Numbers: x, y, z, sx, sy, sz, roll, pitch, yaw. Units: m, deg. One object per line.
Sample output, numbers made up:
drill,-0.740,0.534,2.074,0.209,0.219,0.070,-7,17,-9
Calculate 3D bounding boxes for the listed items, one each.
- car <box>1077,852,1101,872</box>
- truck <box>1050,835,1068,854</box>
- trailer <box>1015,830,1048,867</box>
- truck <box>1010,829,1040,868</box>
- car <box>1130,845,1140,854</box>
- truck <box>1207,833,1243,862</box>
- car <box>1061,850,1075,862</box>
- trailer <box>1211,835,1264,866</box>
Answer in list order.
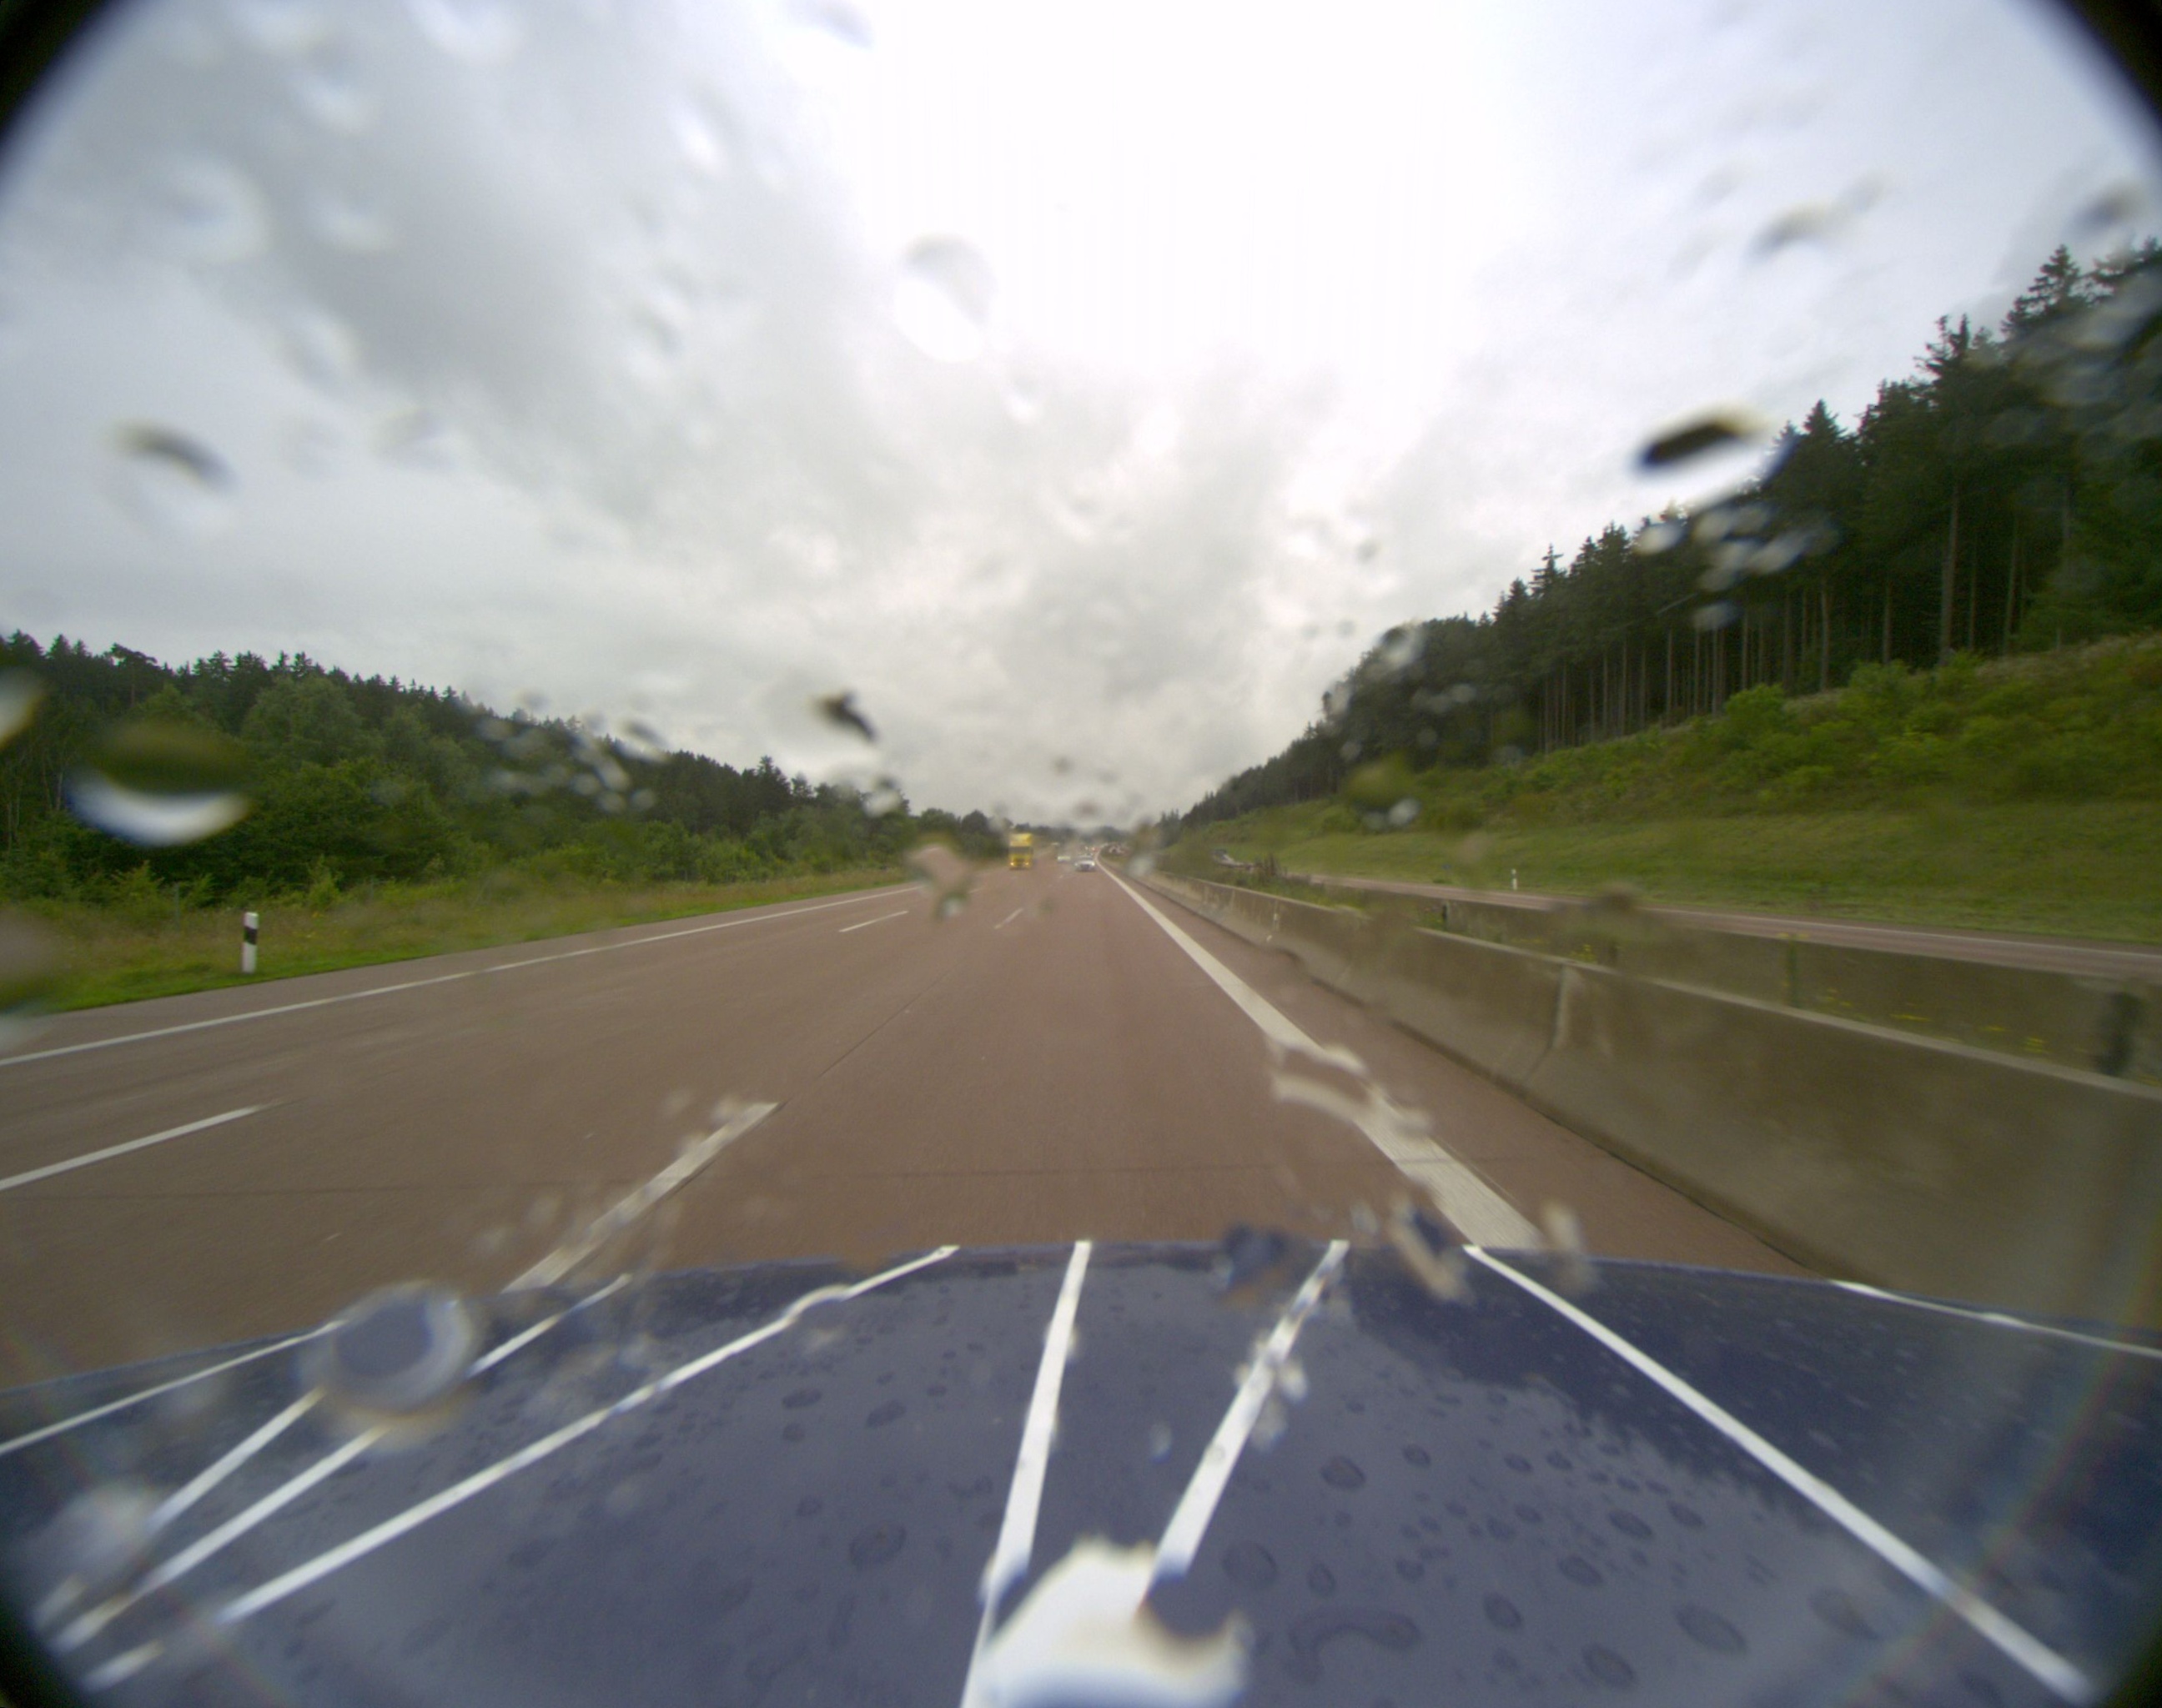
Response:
car,0.788,0.696,69.961,1.998,1.623,4.930,-2,1,2
truck,-5.335,-2.339,184.872,3.190,4.349,14.702,-2,1,2
trailer,-6.046,-0.866,96.068,2.571,4.205,14.078,-2,1,2
truck,-6.381,-0.666,87.238,2.610,4.190,6.249,-2,2,2
car,13.022,-1.071,184.310,2.044,2.046,5.069,0,2,0
truck,16.922,-0.782,89.736,2.870,3.154,6.493,-2,2,0
car,-2.121,0.311,126.602,1.998,1.623,4.930,-2,1,2
trailer,16.847,-0.577,83.157,2.846,2.981,14.431,-2,1,0
